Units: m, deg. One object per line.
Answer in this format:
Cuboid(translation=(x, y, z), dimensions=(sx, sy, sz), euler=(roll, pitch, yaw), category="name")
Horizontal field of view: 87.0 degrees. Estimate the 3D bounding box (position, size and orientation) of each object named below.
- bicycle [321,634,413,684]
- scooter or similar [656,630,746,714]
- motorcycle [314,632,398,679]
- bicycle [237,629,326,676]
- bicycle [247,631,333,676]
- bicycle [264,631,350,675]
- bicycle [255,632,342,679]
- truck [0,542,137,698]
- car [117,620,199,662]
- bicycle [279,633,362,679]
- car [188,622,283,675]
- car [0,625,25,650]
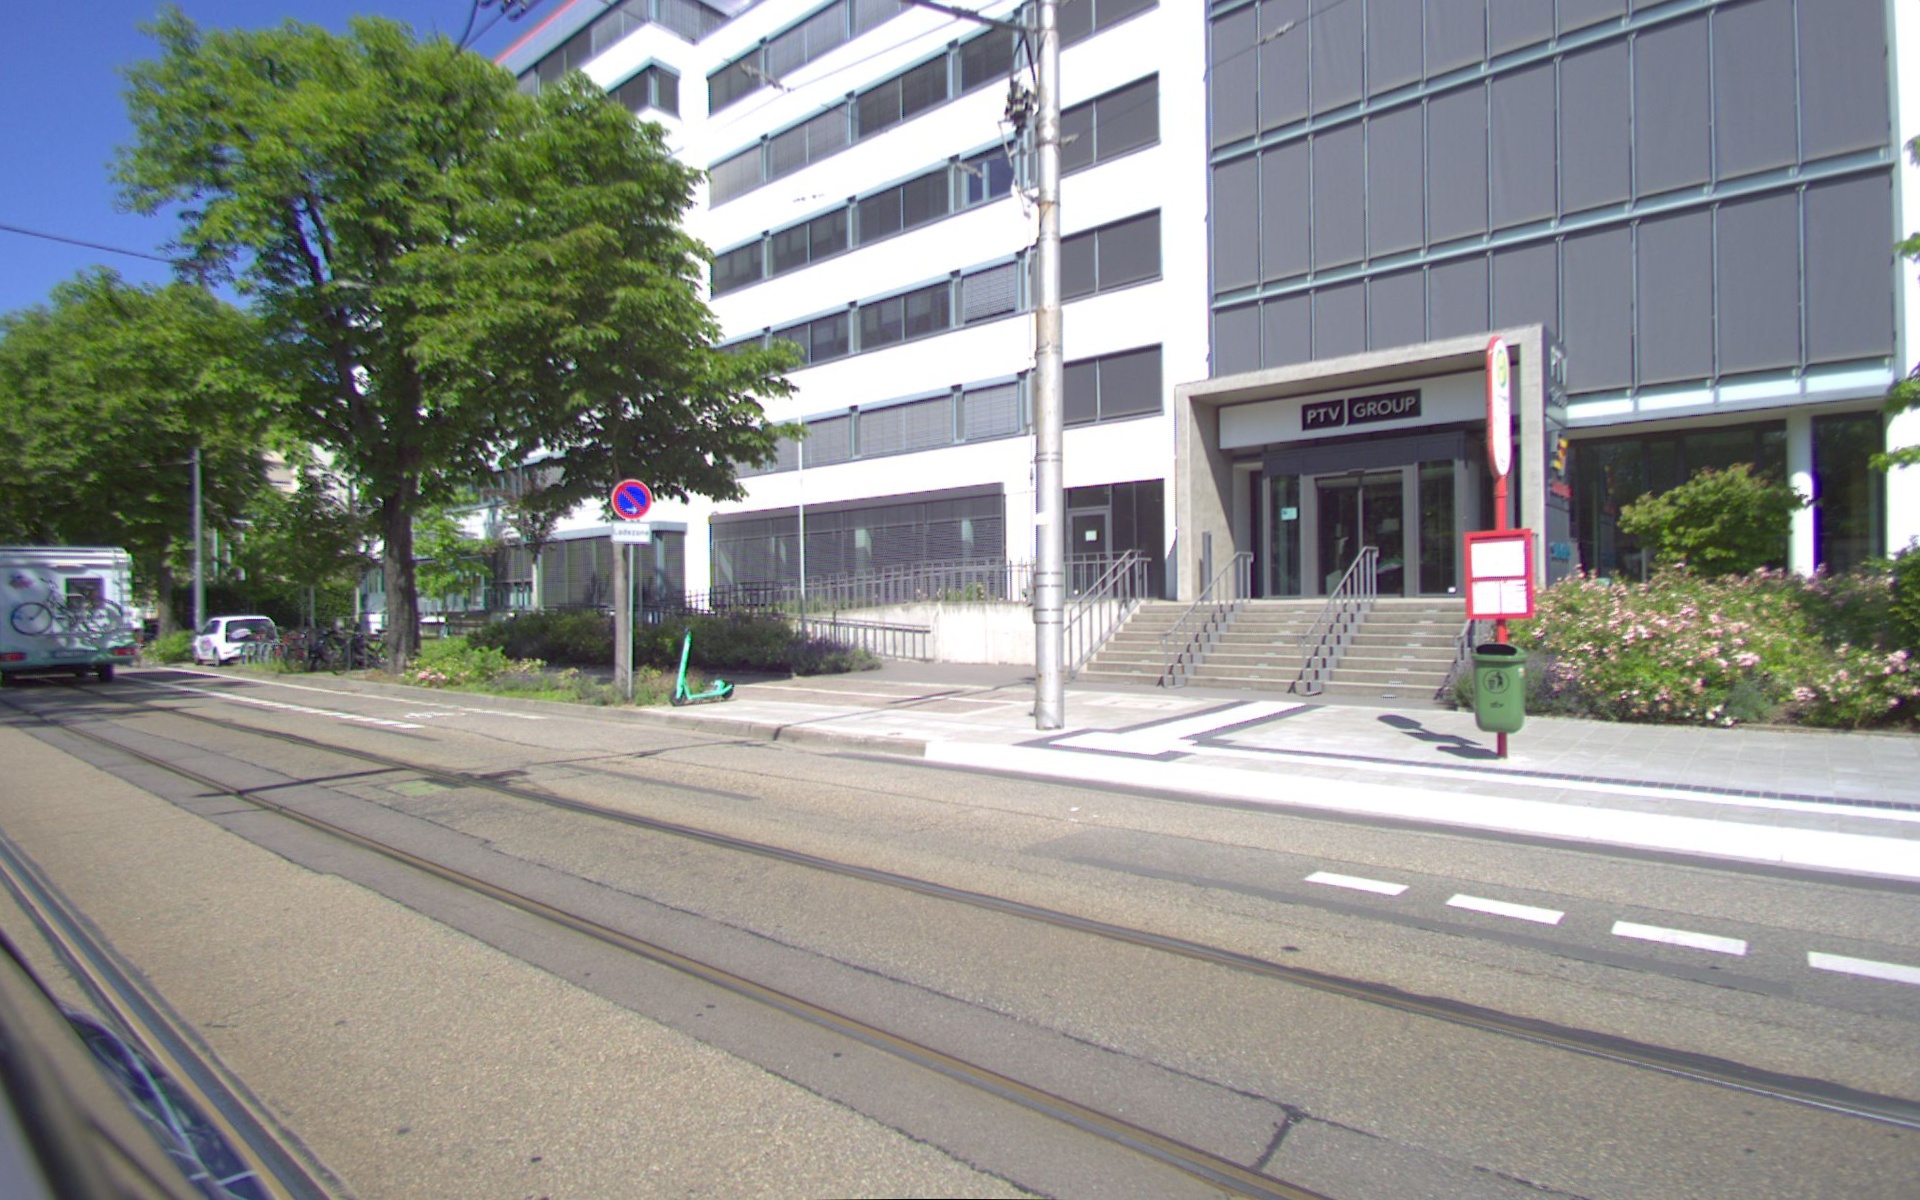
Cuboid(translation=(-13.936, 1.367, 23.812), dimensions=(0.789, 1.094, 1.706), euler=(-2, -1, 40), category="bicycle")
Cuboid(translation=(-3.889, 1.050, 15.224), dimensions=(0.676, 1.175, 1.113), euler=(-2, -1, 43), category="scooter or similar")
Cuboid(translation=(-15.288, 1.396, 25.654), dimensions=(0.658, 1.094, 1.706), euler=(-2, -1, 40), category="motorcycle")
Cuboid(translation=(-18.744, 1.429, 27.975), dimensions=(0.818, 1.178, 1.884), euler=(-2, -1, 40), category="bicycle")
Cuboid(translation=(-18.235, 1.435, 27.576), dimensions=(0.685, 1.150, 1.853), euler=(-2, -1, 40), category="bicycle")
Cuboid(translation=(-17.291, 1.386, 26.825), dimensions=(0.726, 1.094, 1.774), euler=(-2, -1, 40), category="bicycle")
Cuboid(translation=(-17.720, 1.470, 27.134), dimensions=(0.680, 1.140, 1.830), euler=(-2, -1, 40), category="bicycle")
Cuboid(translation=(-20.866, 0.472, 23.006), dimensions=(6.034, 3.132, 2.377), euler=(-2, -1, 41), category="truck")
Cuboid(translation=(-30.994, 1.551, 39.073), dimensions=(4.268, 1.494, 1.614), euler=(-1, -1, 39), category="car")
Cuboid(translation=(-16.596, 1.439, 26.272), dimensions=(0.639, 1.094, 1.706), euler=(-2, -1, 40), category="bicycle")
Cuboid(translation=(-21.975, 1.432, 30.650), dimensions=(3.630, 1.483, 1.612), euler=(-2, -1, 42), category="car")
Cuboid(translation=(-61.029, 2.392, 64.517), dimensions=(3.716, 1.483, 1.614), euler=(-2, -1, 40), category="car")
